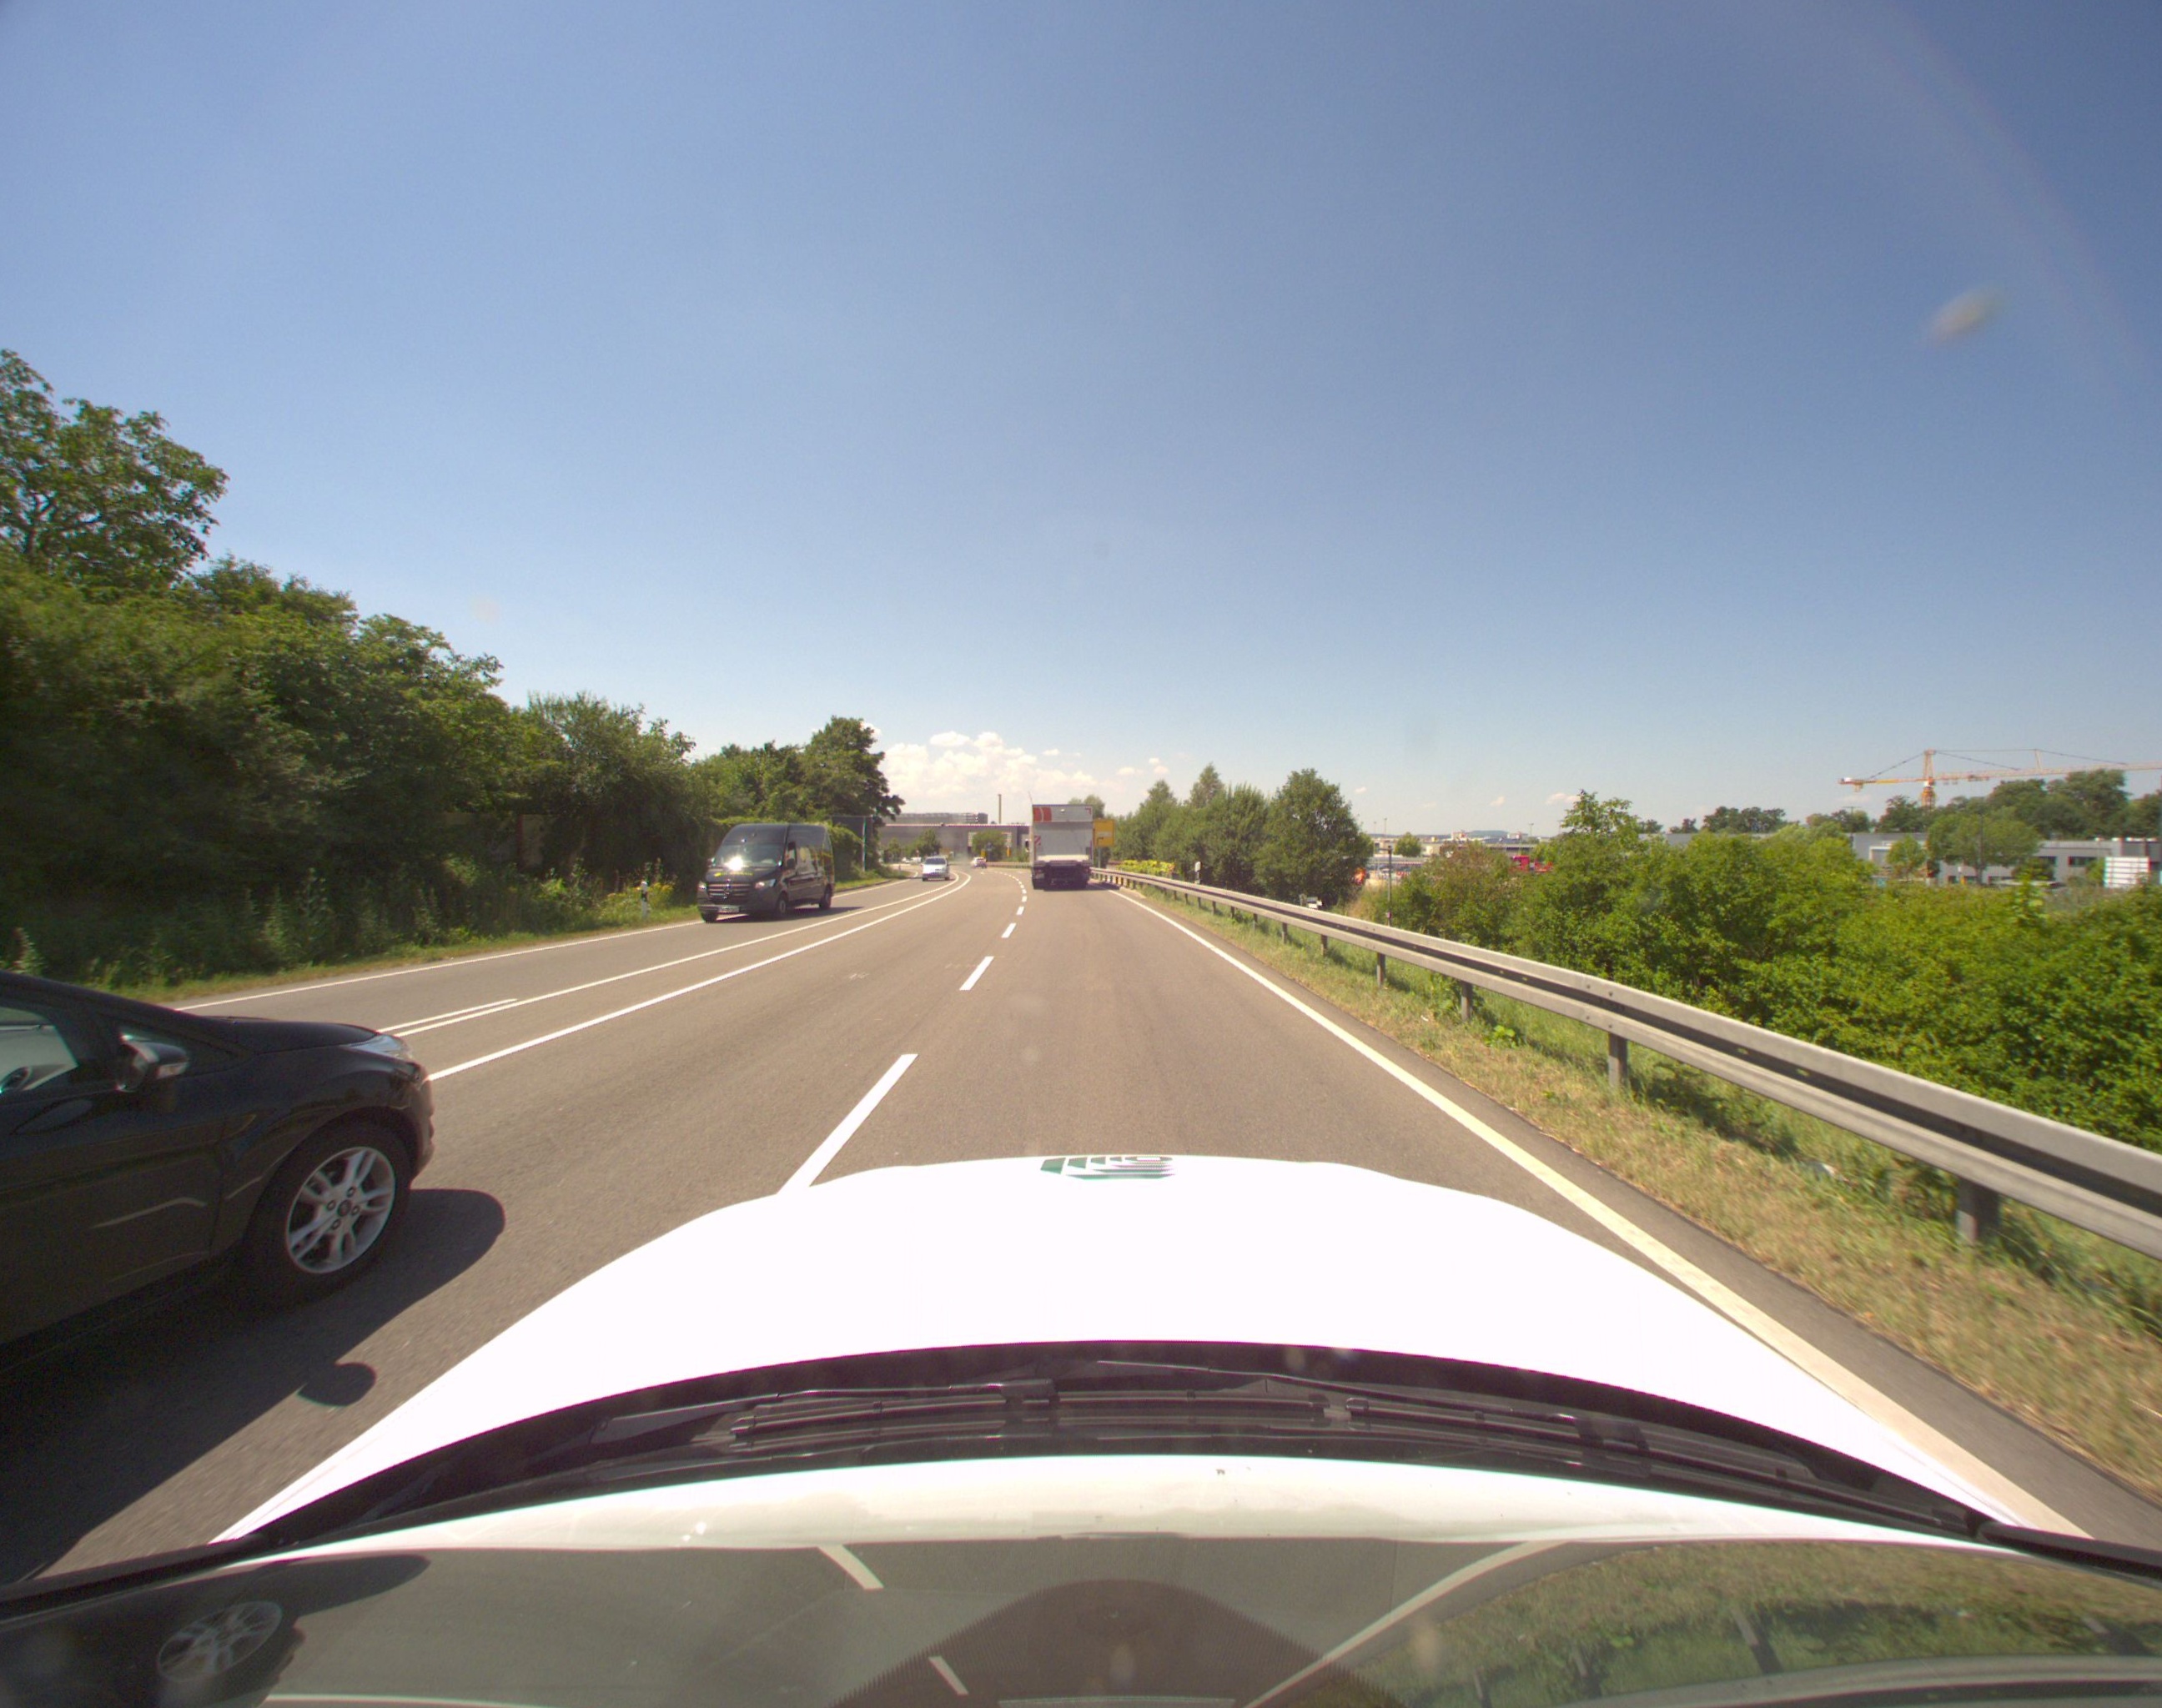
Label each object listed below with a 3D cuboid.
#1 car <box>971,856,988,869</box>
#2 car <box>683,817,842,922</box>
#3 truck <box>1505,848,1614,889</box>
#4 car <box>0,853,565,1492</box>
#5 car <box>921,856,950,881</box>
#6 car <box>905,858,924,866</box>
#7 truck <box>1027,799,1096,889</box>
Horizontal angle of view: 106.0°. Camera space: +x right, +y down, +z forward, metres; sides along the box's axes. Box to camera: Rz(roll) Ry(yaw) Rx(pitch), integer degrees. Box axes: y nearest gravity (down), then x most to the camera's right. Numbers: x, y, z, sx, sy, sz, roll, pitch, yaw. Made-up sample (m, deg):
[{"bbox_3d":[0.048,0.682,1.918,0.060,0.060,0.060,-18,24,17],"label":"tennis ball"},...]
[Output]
[{"bbox_3d":[-13.865,1.214,111.185,1.946,1.664,3.982,1,-1,-13],"label":"car"},{"bbox_3d":[-8.621,0.380,22.810,2.182,2.541,6.033,0,0,-1],"label":"car"},{"bbox_3d":[48.653,1.412,83.001,9.298,3.684,3.151,2,2,35],"label":"truck"},{"bbox_3d":[-3.411,0.783,1.867,1.647,1.493,4.210,0,1,2],"label":"car"},{"bbox_3d":[-9.809,0.921,54.681,1.838,1.593,4.799,0,0,-11],"label":"car"},{"bbox_3d":[-45.015,2.184,220.843,4.736,1.932,2.150,-2,0,-4],"label":"car"},{"bbox_3d":[-0.930,-0.442,38.303,2.796,3.710,9.102,-1,0,-2],"label":"truck"}]
